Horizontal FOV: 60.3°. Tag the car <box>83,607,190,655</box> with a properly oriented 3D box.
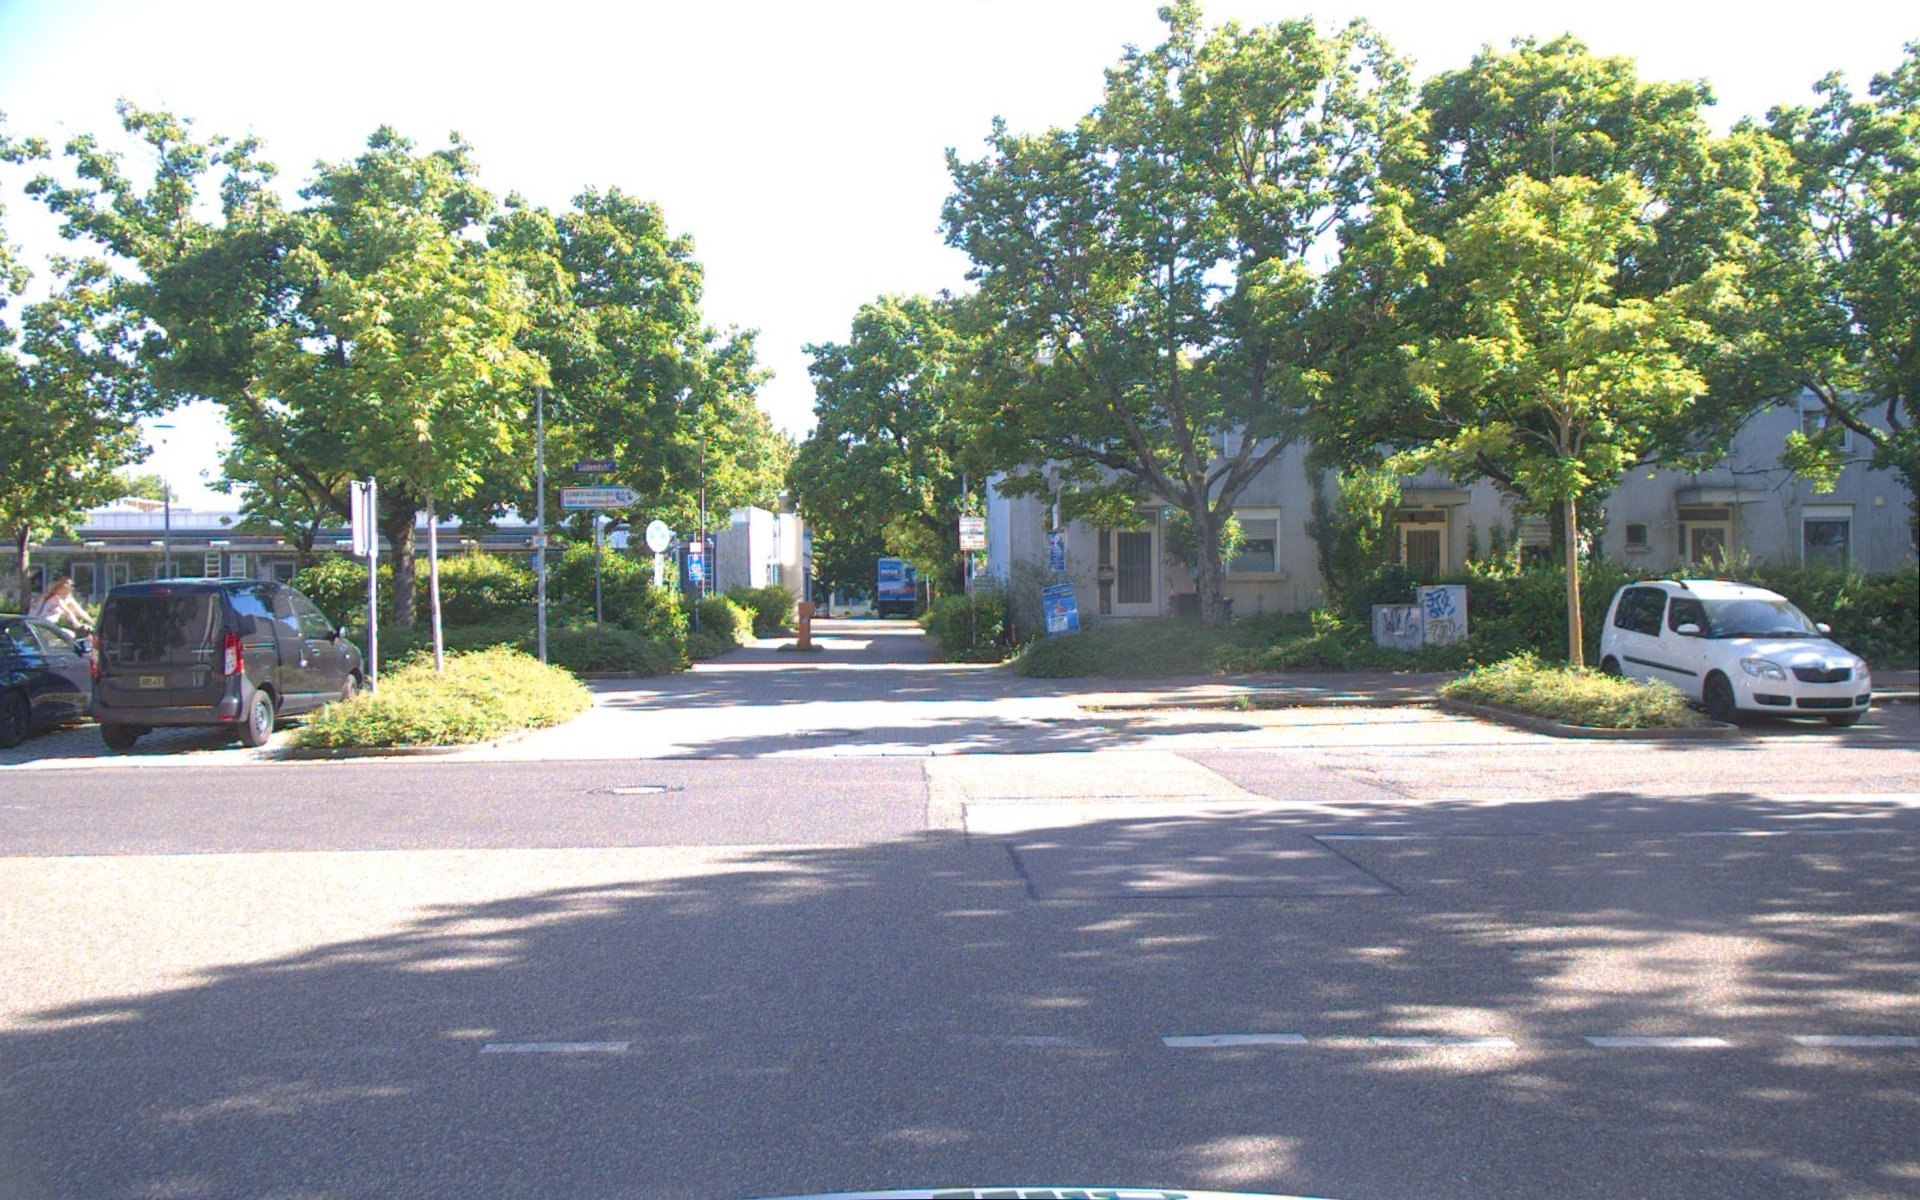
[{"bbox_3d":[-28.763,1.059,57.903,1.798,1.524,3.907,-1,1,0],"label":"car"}]

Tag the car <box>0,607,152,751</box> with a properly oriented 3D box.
[{"bbox_3d":[-11.239,0.866,19.279,1.787,1.430,4.165,-1,1,-4],"label":"car"}]

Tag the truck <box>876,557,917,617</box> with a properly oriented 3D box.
[{"bbox_3d":[-4.327,-0.895,114.165,2.704,3.937,9.326,0,0,-2],"label":"truck"}]

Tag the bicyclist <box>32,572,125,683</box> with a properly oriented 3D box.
[{"bbox_3d":[-12.557,0.387,23.583,0.991,1.550,0.596,0,0,-1],"label":"bicyclist"}]

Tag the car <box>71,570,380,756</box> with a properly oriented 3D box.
[{"bbox_3d":[-8.401,0.618,19.365,1.836,1.879,4.167,-1,1,-2],"label":"car"}]

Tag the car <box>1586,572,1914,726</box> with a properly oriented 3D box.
[{"bbox_3d":[9.387,0.500,20.072,1.787,1.625,4.165,-1,1,-4],"label":"car"}]

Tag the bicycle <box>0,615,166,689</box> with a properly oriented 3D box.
[{"bbox_3d":[-12.505,0.737,23.585,2.040,1.013,0.596,0,0,-2],"label":"bicycle"}]

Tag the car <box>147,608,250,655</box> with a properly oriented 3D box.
[{"bbox_3d":[-26.690,1.073,58.094,1.798,1.524,3.907,-1,1,0],"label":"car"}]

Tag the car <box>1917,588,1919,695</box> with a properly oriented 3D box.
[{"bbox_3d":[13.842,0.590,20.124,1.787,1.430,4.165,-1,1,-4],"label":"car"}]

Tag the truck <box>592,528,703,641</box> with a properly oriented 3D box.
[{"bbox_3d":[-11.283,-0.534,60.376,2.745,3.873,6.923,0,0,0],"label":"truck"}]
